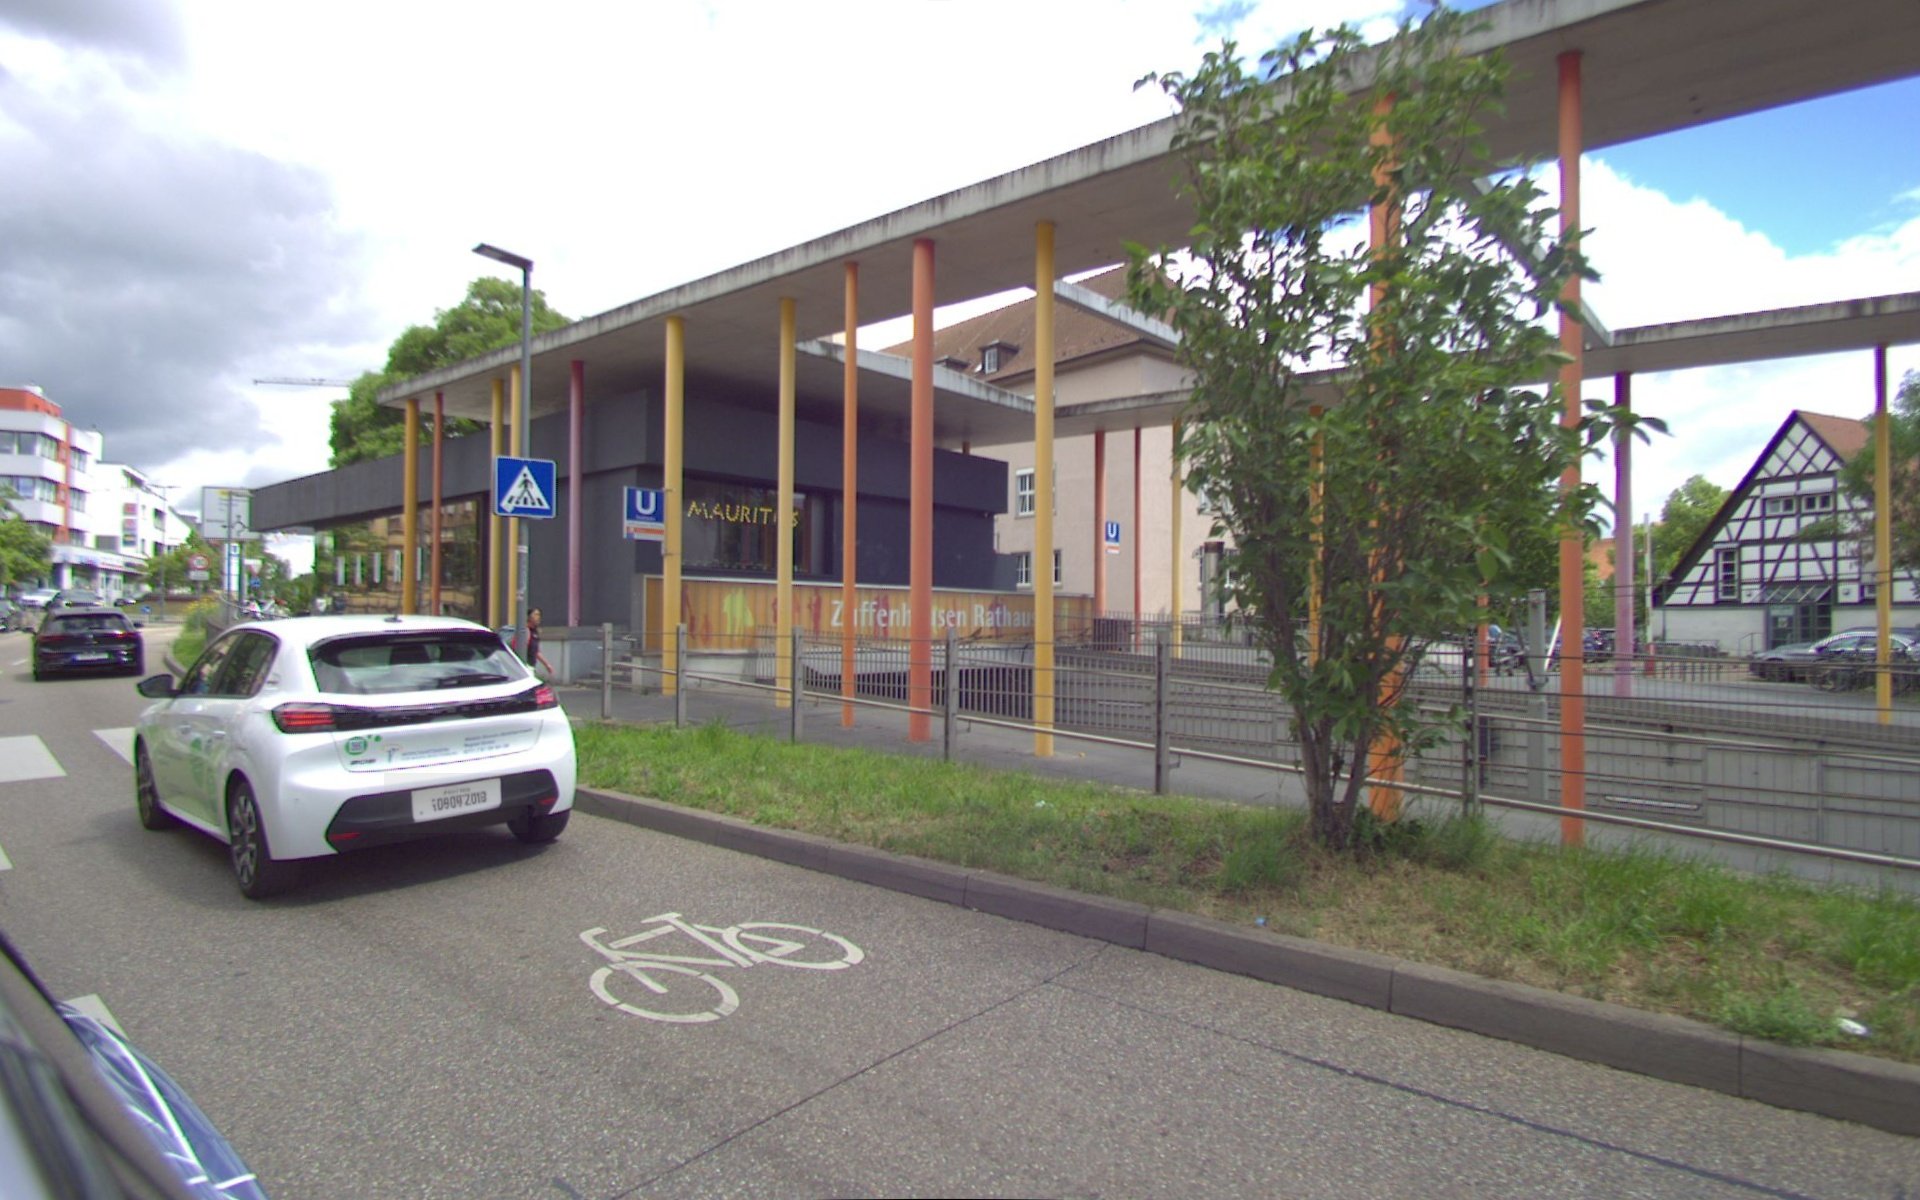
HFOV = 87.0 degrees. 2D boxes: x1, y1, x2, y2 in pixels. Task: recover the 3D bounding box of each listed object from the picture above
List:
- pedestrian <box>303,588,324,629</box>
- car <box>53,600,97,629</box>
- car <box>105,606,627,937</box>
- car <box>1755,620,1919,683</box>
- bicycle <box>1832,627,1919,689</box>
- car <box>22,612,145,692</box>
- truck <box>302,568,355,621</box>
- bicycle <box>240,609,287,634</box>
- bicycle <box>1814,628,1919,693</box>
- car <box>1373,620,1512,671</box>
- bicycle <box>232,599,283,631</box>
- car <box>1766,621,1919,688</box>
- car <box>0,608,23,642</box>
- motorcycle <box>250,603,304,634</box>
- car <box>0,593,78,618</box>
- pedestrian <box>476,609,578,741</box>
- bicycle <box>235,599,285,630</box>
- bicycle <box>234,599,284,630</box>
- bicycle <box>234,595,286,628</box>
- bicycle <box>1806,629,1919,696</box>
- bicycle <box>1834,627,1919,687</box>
[{"bbox_3d":[-26.589,0.365,41.634,0.650,1.641,0.802,0,-2,-28],"label":"pedestrian"},{"bbox_3d":[-51.274,0.820,58.685,1.776,1.592,4.007,0,1,-40],"label":"car"},{"bbox_3d":[-4.003,0.803,6.544,3.906,1.480,1.792,-1,-1,41],"label":"car"},{"bbox_3d":[25.745,1.438,29.233,1.884,1.586,4.009,0,1,-37],"label":"car"},{"bbox_3d":[20.965,1.295,22.699,0.524,1.278,2.065,0,1,-37],"label":"bicycle"},{"bbox_3d":[-18.288,1.007,21.263,1.749,1.475,4.243,0,-1,-38],"label":"car"},{"bbox_3d":[-49.306,-0.443,79.267,2.636,3.871,10.884,0,1,-27],"label":"truck"},{"bbox_3d":[-31.351,0.966,45.561,1.665,1.090,0.516,2,-3,-40],"label":"bicycle"},{"bbox_3d":[19.640,1.279,21.613,0.524,1.278,2.065,0,1,-37],"label":"bicycle"},{"bbox_3d":[17.110,1.615,35.996,1.875,1.682,4.006,0,-2,-41],"label":"car"},{"bbox_3d":[-26.210,0.568,37.756,1.526,1.136,0.535,2,-2,-36],"label":"bicycle"},{"bbox_3d":[24.623,1.441,27.220,1.884,1.586,4.277,0,1,-37],"label":"car"},{"bbox_3d":[-43.563,1.080,45.160,1.967,1.424,4.747,2,-1,-36],"label":"car"},{"bbox_3d":[-34.306,0.931,50.828,2.160,1.460,0.650,2,-1,-37],"label":"motorcycle"},{"bbox_3d":[-63.645,0.339,69.947,1.819,1.675,3.997,1,1,2],"label":"car"},{"bbox_3d":[-5.498,0.912,12.872,0.814,1.577,0.918,1,1,39],"label":"pedestrian"},{"bbox_3d":[-26.921,0.569,38.928,1.526,1.136,0.535,2,-2,-36],"label":"bicycle"},{"bbox_3d":[-26.543,0.563,38.328,1.526,1.136,0.535,2,-2,-36],"label":"bicycle"},{"bbox_3d":[-25.546,0.428,36.934,1.526,1.136,0.535,2,-2,-36],"label":"bicycle"},{"bbox_3d":[19.103,1.293,21.183,0.524,1.278,2.065,0,1,-37],"label":"bicycle"},{"bbox_3d":[21.423,1.305,23.166,0.524,1.278,2.065,0,1,-37],"label":"bicycle"}]
